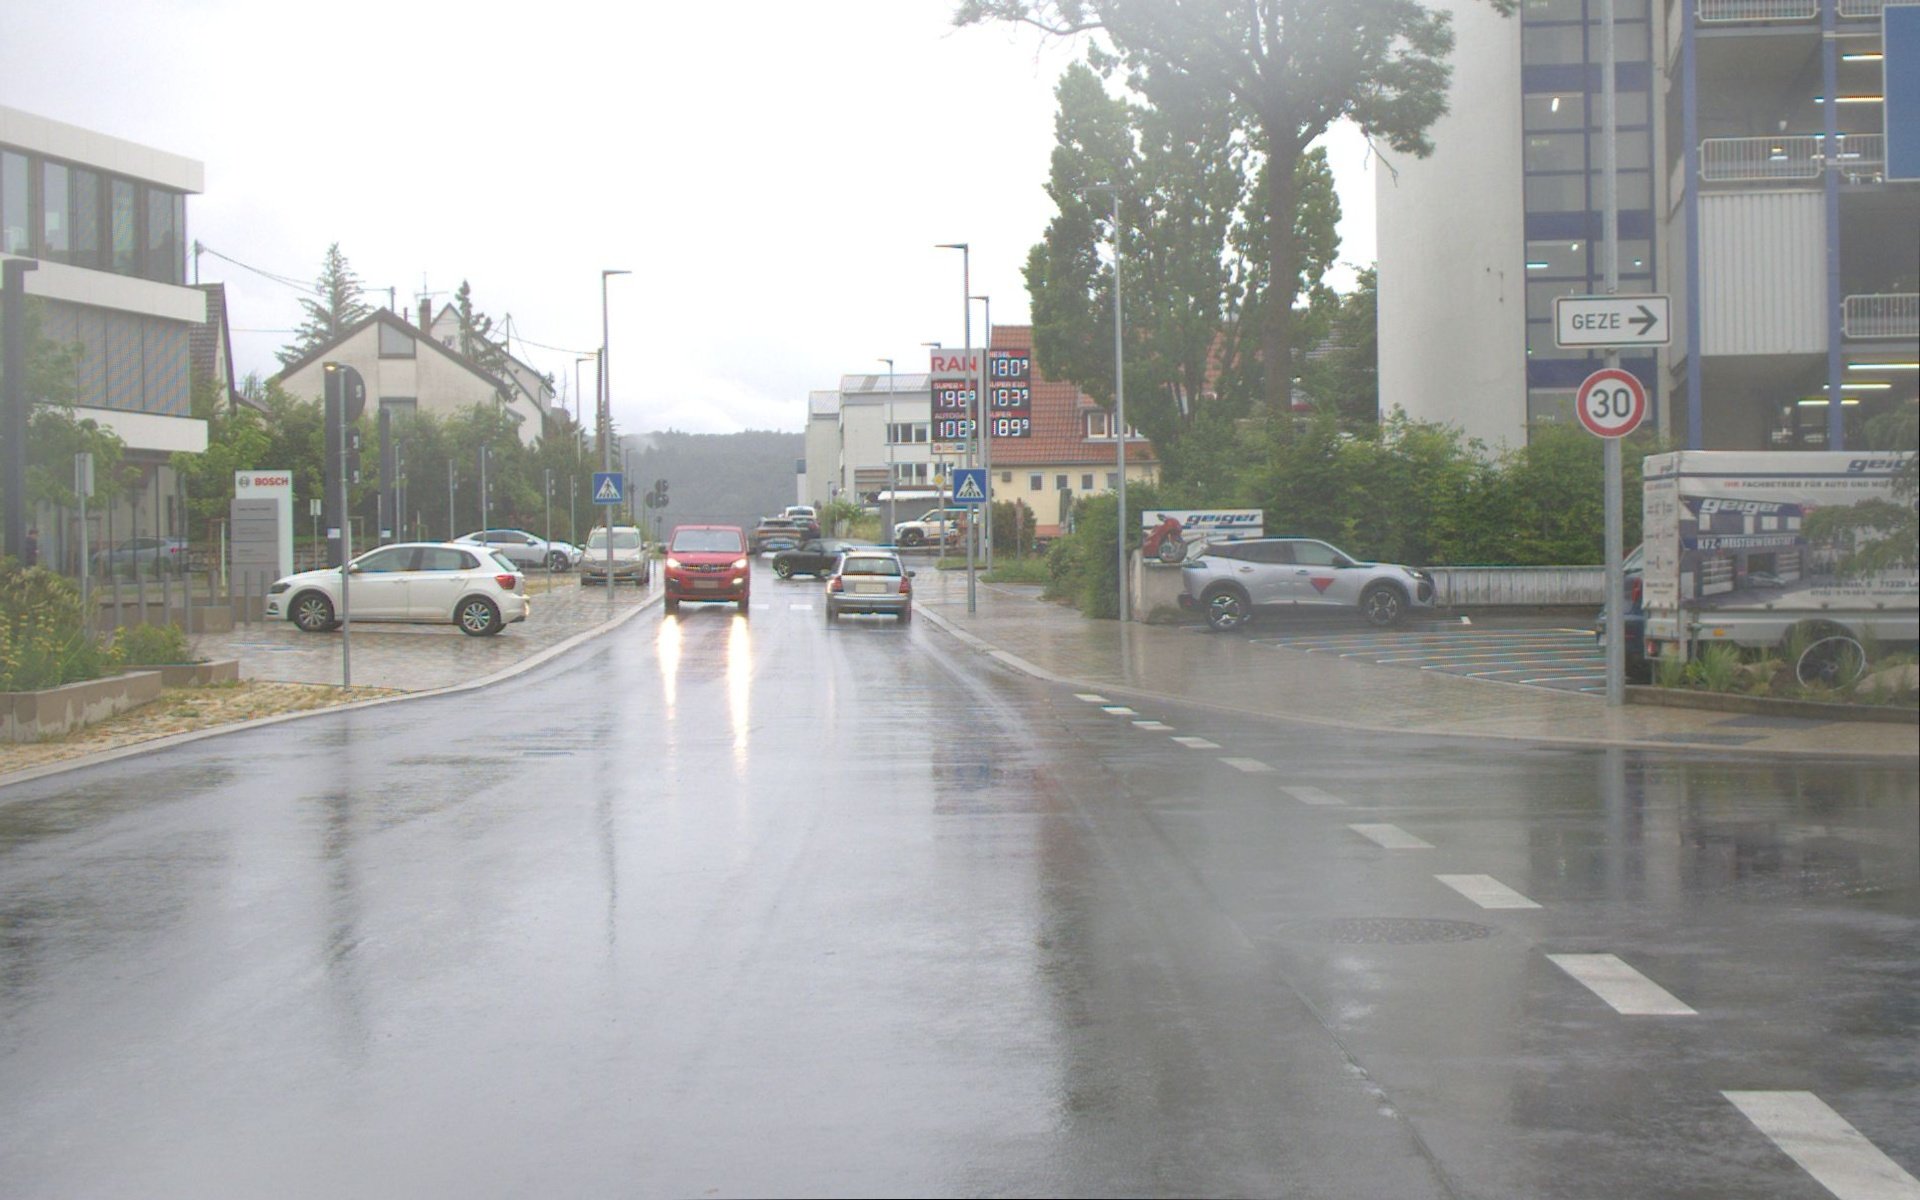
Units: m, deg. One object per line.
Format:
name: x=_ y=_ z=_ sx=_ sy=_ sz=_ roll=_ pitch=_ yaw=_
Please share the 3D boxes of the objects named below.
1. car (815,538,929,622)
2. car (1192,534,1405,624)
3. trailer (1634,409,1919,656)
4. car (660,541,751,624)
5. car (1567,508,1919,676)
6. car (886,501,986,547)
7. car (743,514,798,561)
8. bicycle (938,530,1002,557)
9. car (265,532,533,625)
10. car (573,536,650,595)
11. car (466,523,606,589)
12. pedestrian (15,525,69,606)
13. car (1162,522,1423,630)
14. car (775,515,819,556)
car: x=-1.831 y=-0.382 z=70.252 sx=1.948 sy=1.550 sz=4.001 roll=3 pitch=-1 yaw=-6
car: x=5.922 y=-0.372 z=60.087 sx=3.622 sy=1.489 sz=1.806 roll=-1 pitch=1 yaw=6
trailer: x=7.569 y=-0.601 z=30.900 sx=2.701 sy=2.164 sz=1.548 roll=0 pitch=1 yaw=-1
car: x=-5.763 y=-0.431 z=78.026 sx=2.002 sy=1.811 sz=4.980 roll=0 pitch=1 yaw=-4
car: x=7.975 y=-0.088 z=33.587 sx=3.725 sy=1.523 sz=1.650 roll=-1 pitch=0 yaw=-3
car: x=-1.043 y=-3.291 z=148.934 sx=4.111 sy=1.700 sz=1.789 roll=3 pitch=-1 yaw=-6
car: x=-7.858 y=-2.581 z=142.876 sx=2.154 sy=1.700 sz=4.000 roll=3 pitch=-1 yaw=-3
bicycle: x=0.410 y=-2.353 z=142.388 sx=0.668 sy=1.063 sz=3.629 roll=4 pitch=-1 yaw=-34
car: x=-8.757 y=-0.350 z=53.882 sx=3.927 sy=1.418 sz=1.898 roll=0 pitch=1 yaw=-2
car: x=-9.997 y=-1.010 z=98.788 sx=1.993 sy=1.623 sz=4.154 roll=0 pitch=2 yaw=-3
car: x=-14.936 y=-1.543 z=121.090 sx=4.752 sy=2.007 sz=2.000 roll=3 pitch=-1 yaw=-7
pedestrian: x=-19.728 y=-0.741 z=73.907 sx=1.013 sy=1.718 sz=0.772 roll=0 pitch=1 yaw=-5
car: x=5.571 y=-0.405 z=57.443 sx=4.208 sy=1.644 sz=2.000 roll=-2 pitch=1 yaw=7
car: x=-7.817 y=-3.076 z=164.442 sx=1.993 sy=1.700 sz=4.000 roll=3 pitch=-1 yaw=-3
